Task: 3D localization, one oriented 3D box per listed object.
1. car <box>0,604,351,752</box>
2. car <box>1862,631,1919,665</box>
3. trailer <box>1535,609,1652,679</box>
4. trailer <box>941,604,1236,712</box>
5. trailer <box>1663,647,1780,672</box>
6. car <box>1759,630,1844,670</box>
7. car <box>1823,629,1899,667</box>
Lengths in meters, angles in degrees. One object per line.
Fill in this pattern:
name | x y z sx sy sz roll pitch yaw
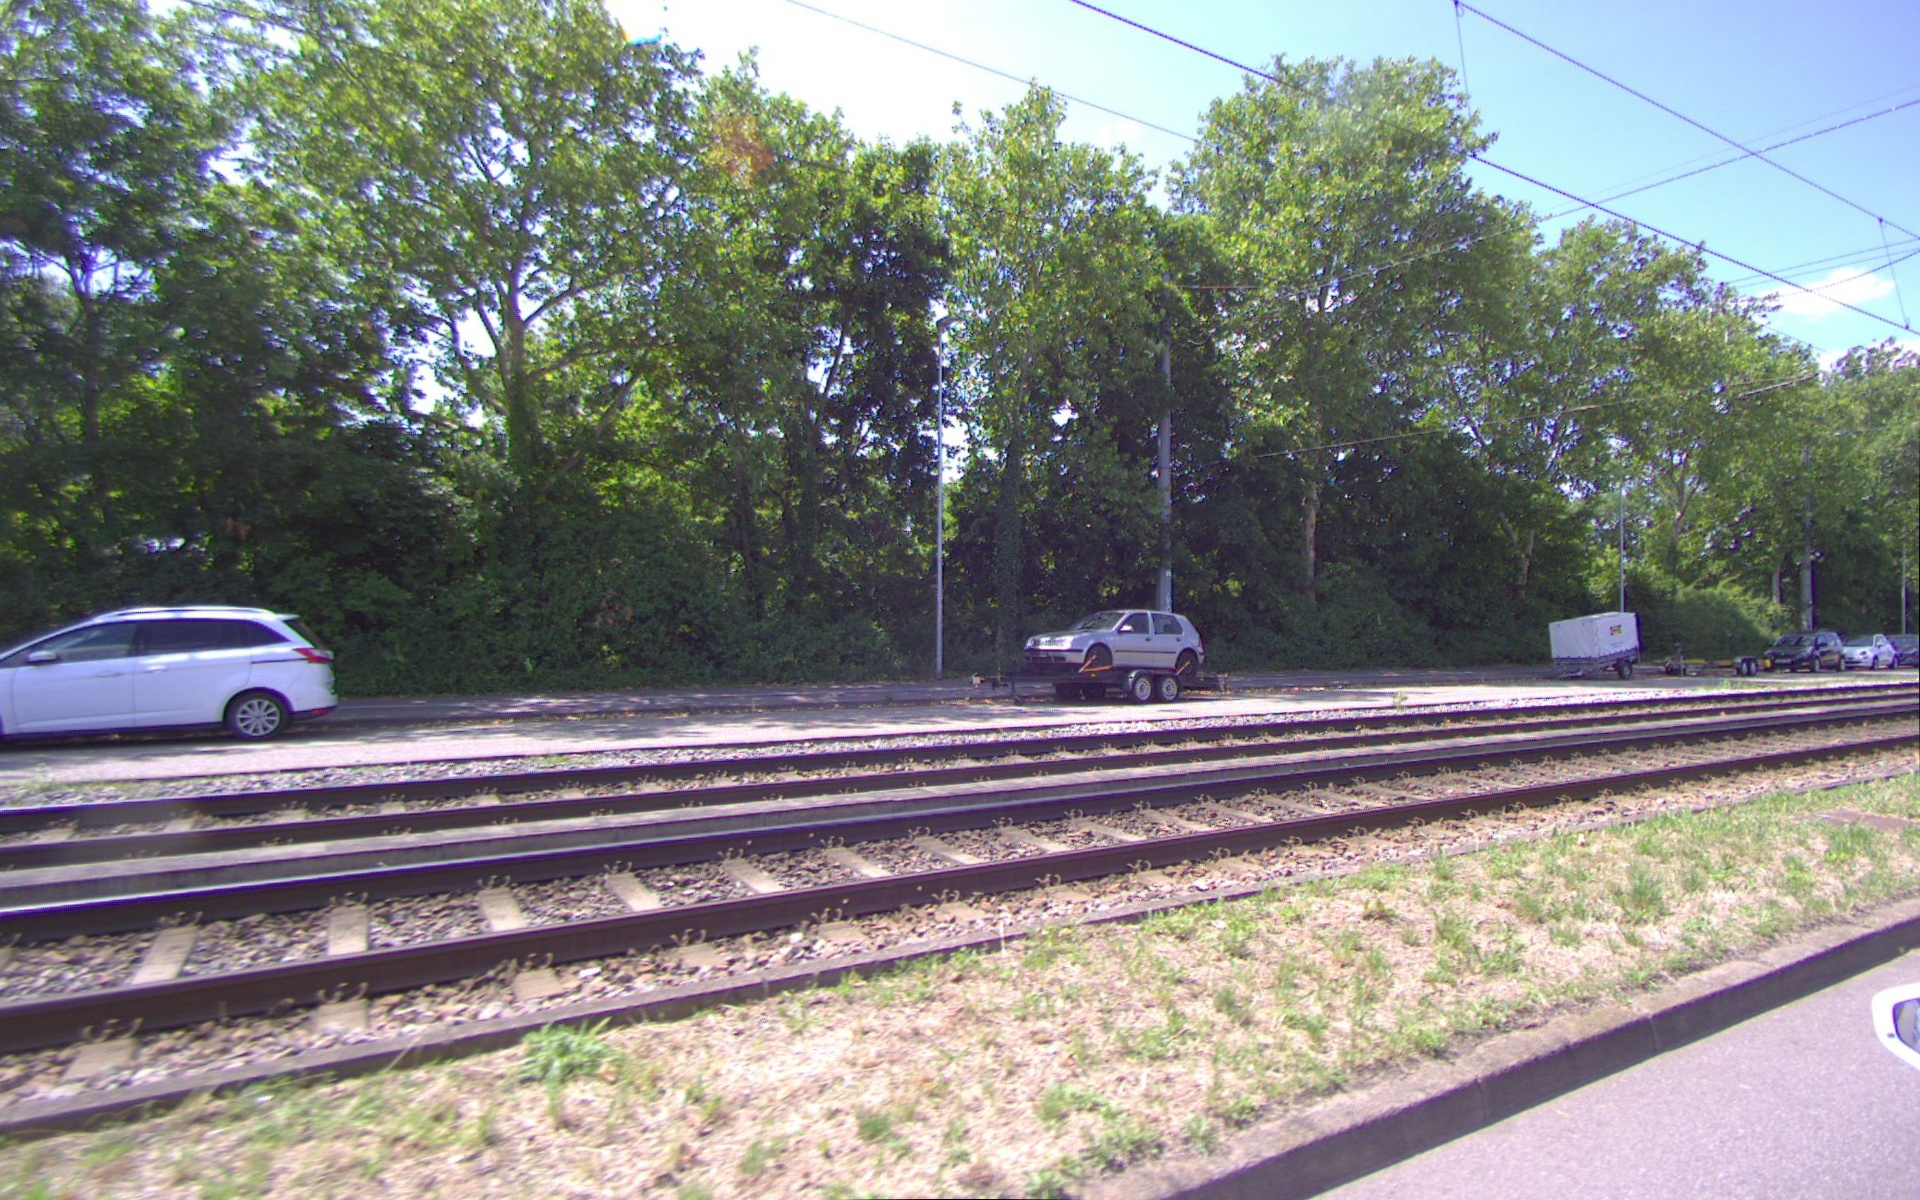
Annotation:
car | -10.407 0.943 12.725 4.564 1.652 1.711 -1 -3 -32
car | 42.289 2.100 44.887 4.370 1.419 1.860 1 0 -33
trailer | 19.814 1.321 31.379 3.874 2.041 1.600 1 1 -33
trailer | 2.728 1.081 20.542 5.902 1.914 2.445 1 0 -35
trailer | 27.057 2.110 35.684 3.954 0.752 1.984 2 -2 -31
car | 32.585 1.905 38.864 3.878 1.470 1.426 1 0 -32
car | 37.751 1.991 42.052 3.700 1.470 1.426 1 0 -32
